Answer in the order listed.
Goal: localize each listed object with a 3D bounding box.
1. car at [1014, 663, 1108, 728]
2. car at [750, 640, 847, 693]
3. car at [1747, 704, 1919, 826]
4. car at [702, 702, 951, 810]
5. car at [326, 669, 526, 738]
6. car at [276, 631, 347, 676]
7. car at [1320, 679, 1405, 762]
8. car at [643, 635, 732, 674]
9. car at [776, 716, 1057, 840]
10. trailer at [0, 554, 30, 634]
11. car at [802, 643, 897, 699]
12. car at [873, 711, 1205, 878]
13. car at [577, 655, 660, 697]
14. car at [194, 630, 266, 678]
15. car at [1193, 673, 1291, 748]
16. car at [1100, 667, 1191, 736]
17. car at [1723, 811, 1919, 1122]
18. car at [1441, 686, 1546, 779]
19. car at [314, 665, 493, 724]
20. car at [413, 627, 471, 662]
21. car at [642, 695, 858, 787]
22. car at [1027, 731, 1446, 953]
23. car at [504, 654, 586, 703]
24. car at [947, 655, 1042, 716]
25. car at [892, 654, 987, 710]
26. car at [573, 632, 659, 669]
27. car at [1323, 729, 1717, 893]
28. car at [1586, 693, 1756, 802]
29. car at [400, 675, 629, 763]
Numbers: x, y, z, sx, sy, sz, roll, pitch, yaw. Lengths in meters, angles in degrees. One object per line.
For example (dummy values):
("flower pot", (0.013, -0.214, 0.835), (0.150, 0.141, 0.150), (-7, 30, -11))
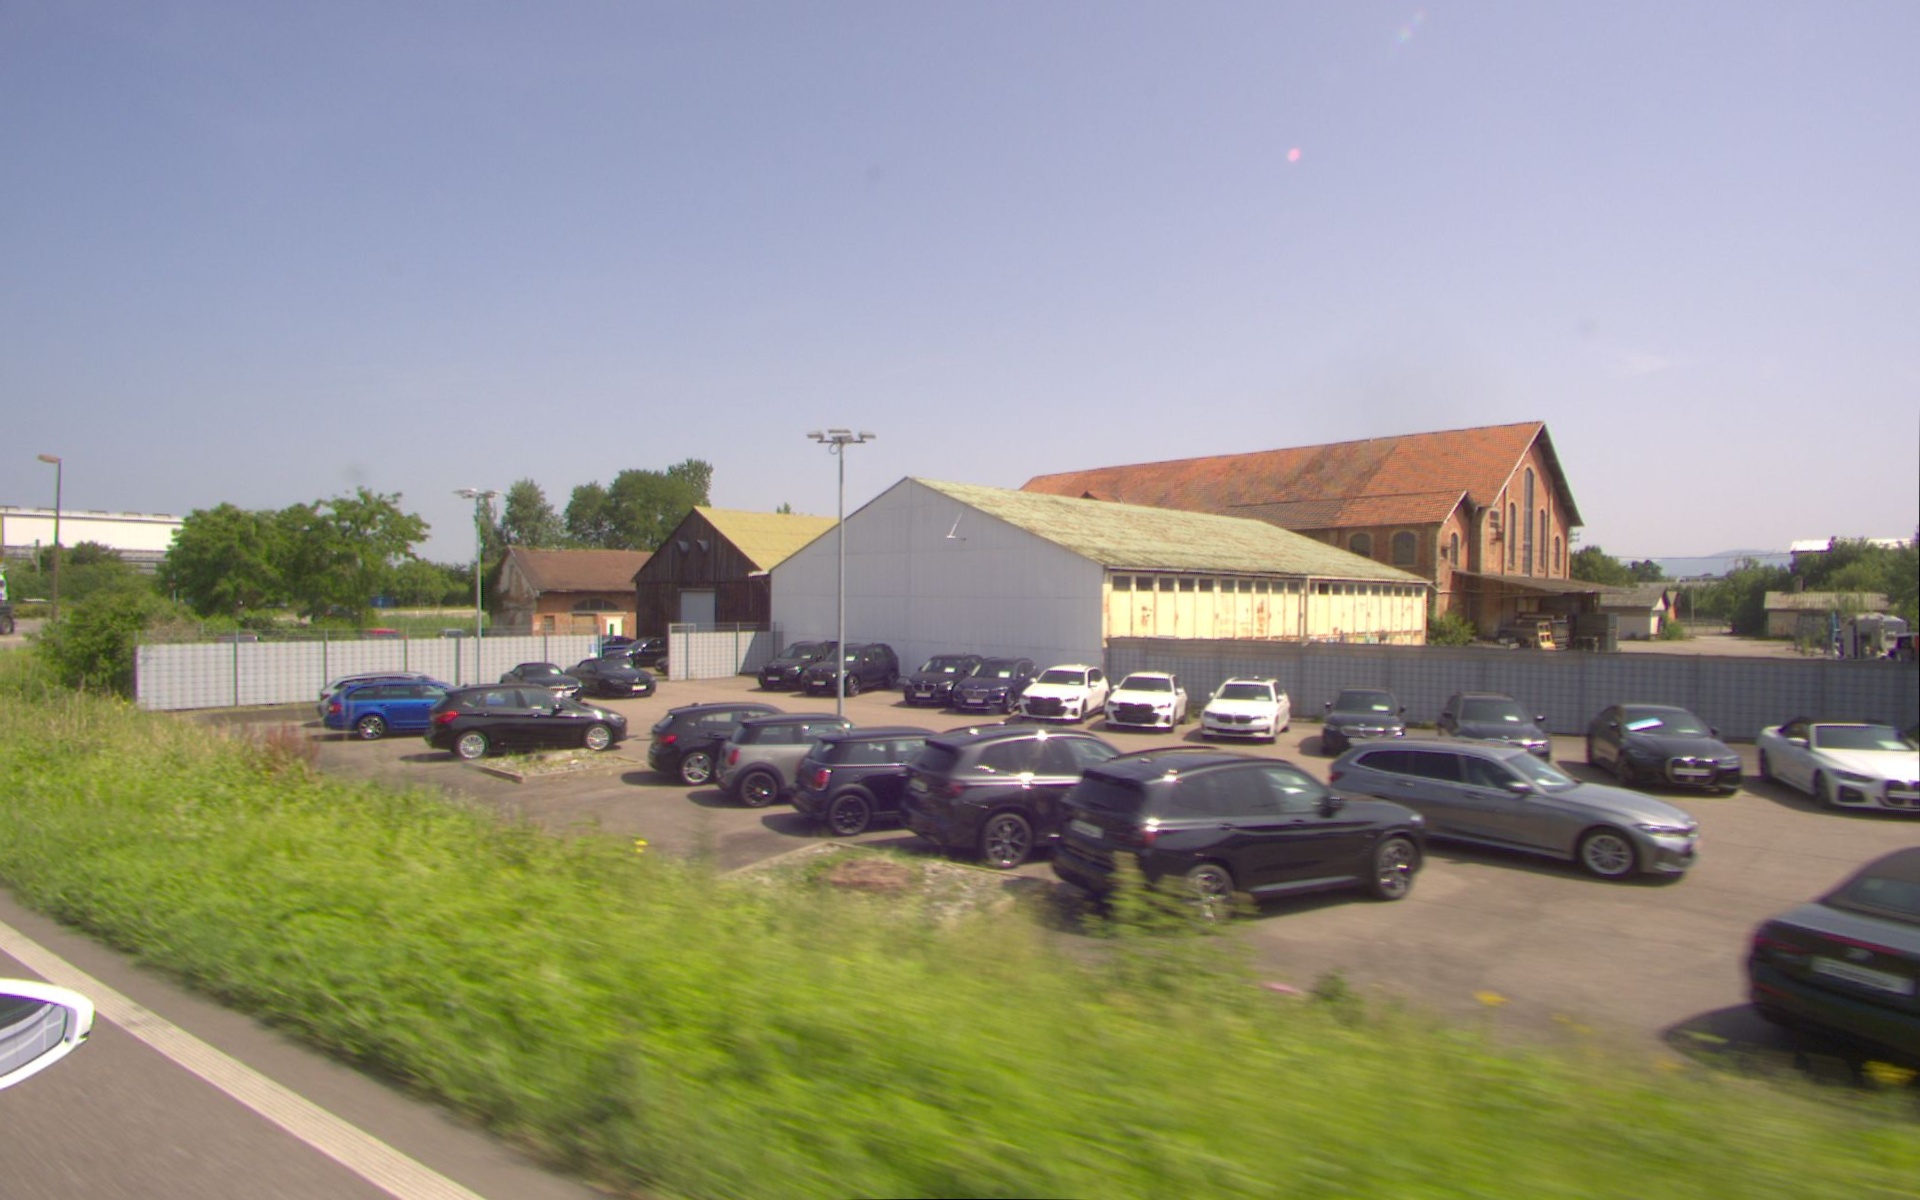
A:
("car", (3.143, 2.804, 30.267), (1.878, 1.543, 4.330), (1, 0, 19))
("car", (-6.372, 2.599, 40.017), (1.963, 1.828, 4.330), (1, 0, 19))
("car", (16.126, 2.856, 18.089), (1.900, 1.543, 4.606), (-1, -1, 24))
("car", (-2.400, 2.708, 17.955), (4.083, 1.512, 1.825), (1, -1, -23))
("car", (-14.219, 2.719, 26.852), (4.575, 1.518, 1.847), (1, 0, -29))
("car", (-30.644, 2.469, 47.293), (3.959, 2.039, 1.982), (-2, -2, 44))
("car", (9.703, 2.803, 23.997), (1.729, 1.543, 3.998), (-1, -1, 24))
("car", (-12.803, 2.530, 47.172), (3.713, 1.772, 1.658), (2, -2, -43))
("car", (-0.690, 2.720, 15.872), (4.083, 1.461, 1.769), (1, 1, -23))
("trailer", (-49.337, -0.379, 48.460), (2.838, 4.081, 8.682), (0, -2, -17))
("car", (-4.072, 2.603, 37.752), (1.877, 1.828, 4.330), (1, 0, 19))
("car", (1.078, 2.551, 13.860), (4.167, 1.723, 1.912), (1, 1, -23))
("car", (-12.855, 2.804, 37.582), (1.974, 1.416, 3.975), (1, -2, -34))
("car", (-32.875, 2.390, 45.058), (3.959, 2.039, 1.982), (-2, -2, 44))
("car", (7.603, 2.849, 26.690), (1.880, 1.543, 4.648), (-1, -1, 24))
("car", (5.392, 2.825, 28.706), (1.878, 1.543, 4.605), (1, -1, 19))
("car", (8.167, 2.671, 7.800), (4.575, 1.542, 1.848), (1, -2, -29))
("car", (11.793, 2.853, 22.370), (1.767, 1.543, 4.315), (-1, -1, 24))
("car", (-16.288, 2.744, 29.539), (4.296, 1.522, 1.839), (1, 0, -17))
("car", (-31.220, 2.651, 60.302), (3.959, 2.039, 1.982), (-2, -2, 44))
("car", (-4.156, 2.718, 19.738), (3.966, 1.461, 1.769), (1, 1, -19))
("car", (3.216, 2.570, 11.502), (4.573, 1.723, 1.848), (1, 1, -27))
("car", (-14.961, 2.758, 35.954), (1.833, 1.554, 4.614), (1, -2, -34))
("car", (1.195, 2.700, 32.344), (1.878, 1.596, 4.330), (1, 0, 19))
("car", (-0.630, 2.749, 34.358), (1.878, 1.596, 4.330), (1, 0, 19))
("car", (-17.020, 2.477, 49.616), (3.710, 1.772, 1.660), (2, -2, -41))
("car", (7.730, 2.778, 14.102), (4.484, 1.476, 2.124), (-2, -2, 44))
("car", (14.083, 2.831, 20.141), (1.900, 1.543, 4.606), (-1, -1, 24))
("car", (-10.101, 2.632, 22.819), (4.580, 1.625, 1.846), (1, -1, -32))
